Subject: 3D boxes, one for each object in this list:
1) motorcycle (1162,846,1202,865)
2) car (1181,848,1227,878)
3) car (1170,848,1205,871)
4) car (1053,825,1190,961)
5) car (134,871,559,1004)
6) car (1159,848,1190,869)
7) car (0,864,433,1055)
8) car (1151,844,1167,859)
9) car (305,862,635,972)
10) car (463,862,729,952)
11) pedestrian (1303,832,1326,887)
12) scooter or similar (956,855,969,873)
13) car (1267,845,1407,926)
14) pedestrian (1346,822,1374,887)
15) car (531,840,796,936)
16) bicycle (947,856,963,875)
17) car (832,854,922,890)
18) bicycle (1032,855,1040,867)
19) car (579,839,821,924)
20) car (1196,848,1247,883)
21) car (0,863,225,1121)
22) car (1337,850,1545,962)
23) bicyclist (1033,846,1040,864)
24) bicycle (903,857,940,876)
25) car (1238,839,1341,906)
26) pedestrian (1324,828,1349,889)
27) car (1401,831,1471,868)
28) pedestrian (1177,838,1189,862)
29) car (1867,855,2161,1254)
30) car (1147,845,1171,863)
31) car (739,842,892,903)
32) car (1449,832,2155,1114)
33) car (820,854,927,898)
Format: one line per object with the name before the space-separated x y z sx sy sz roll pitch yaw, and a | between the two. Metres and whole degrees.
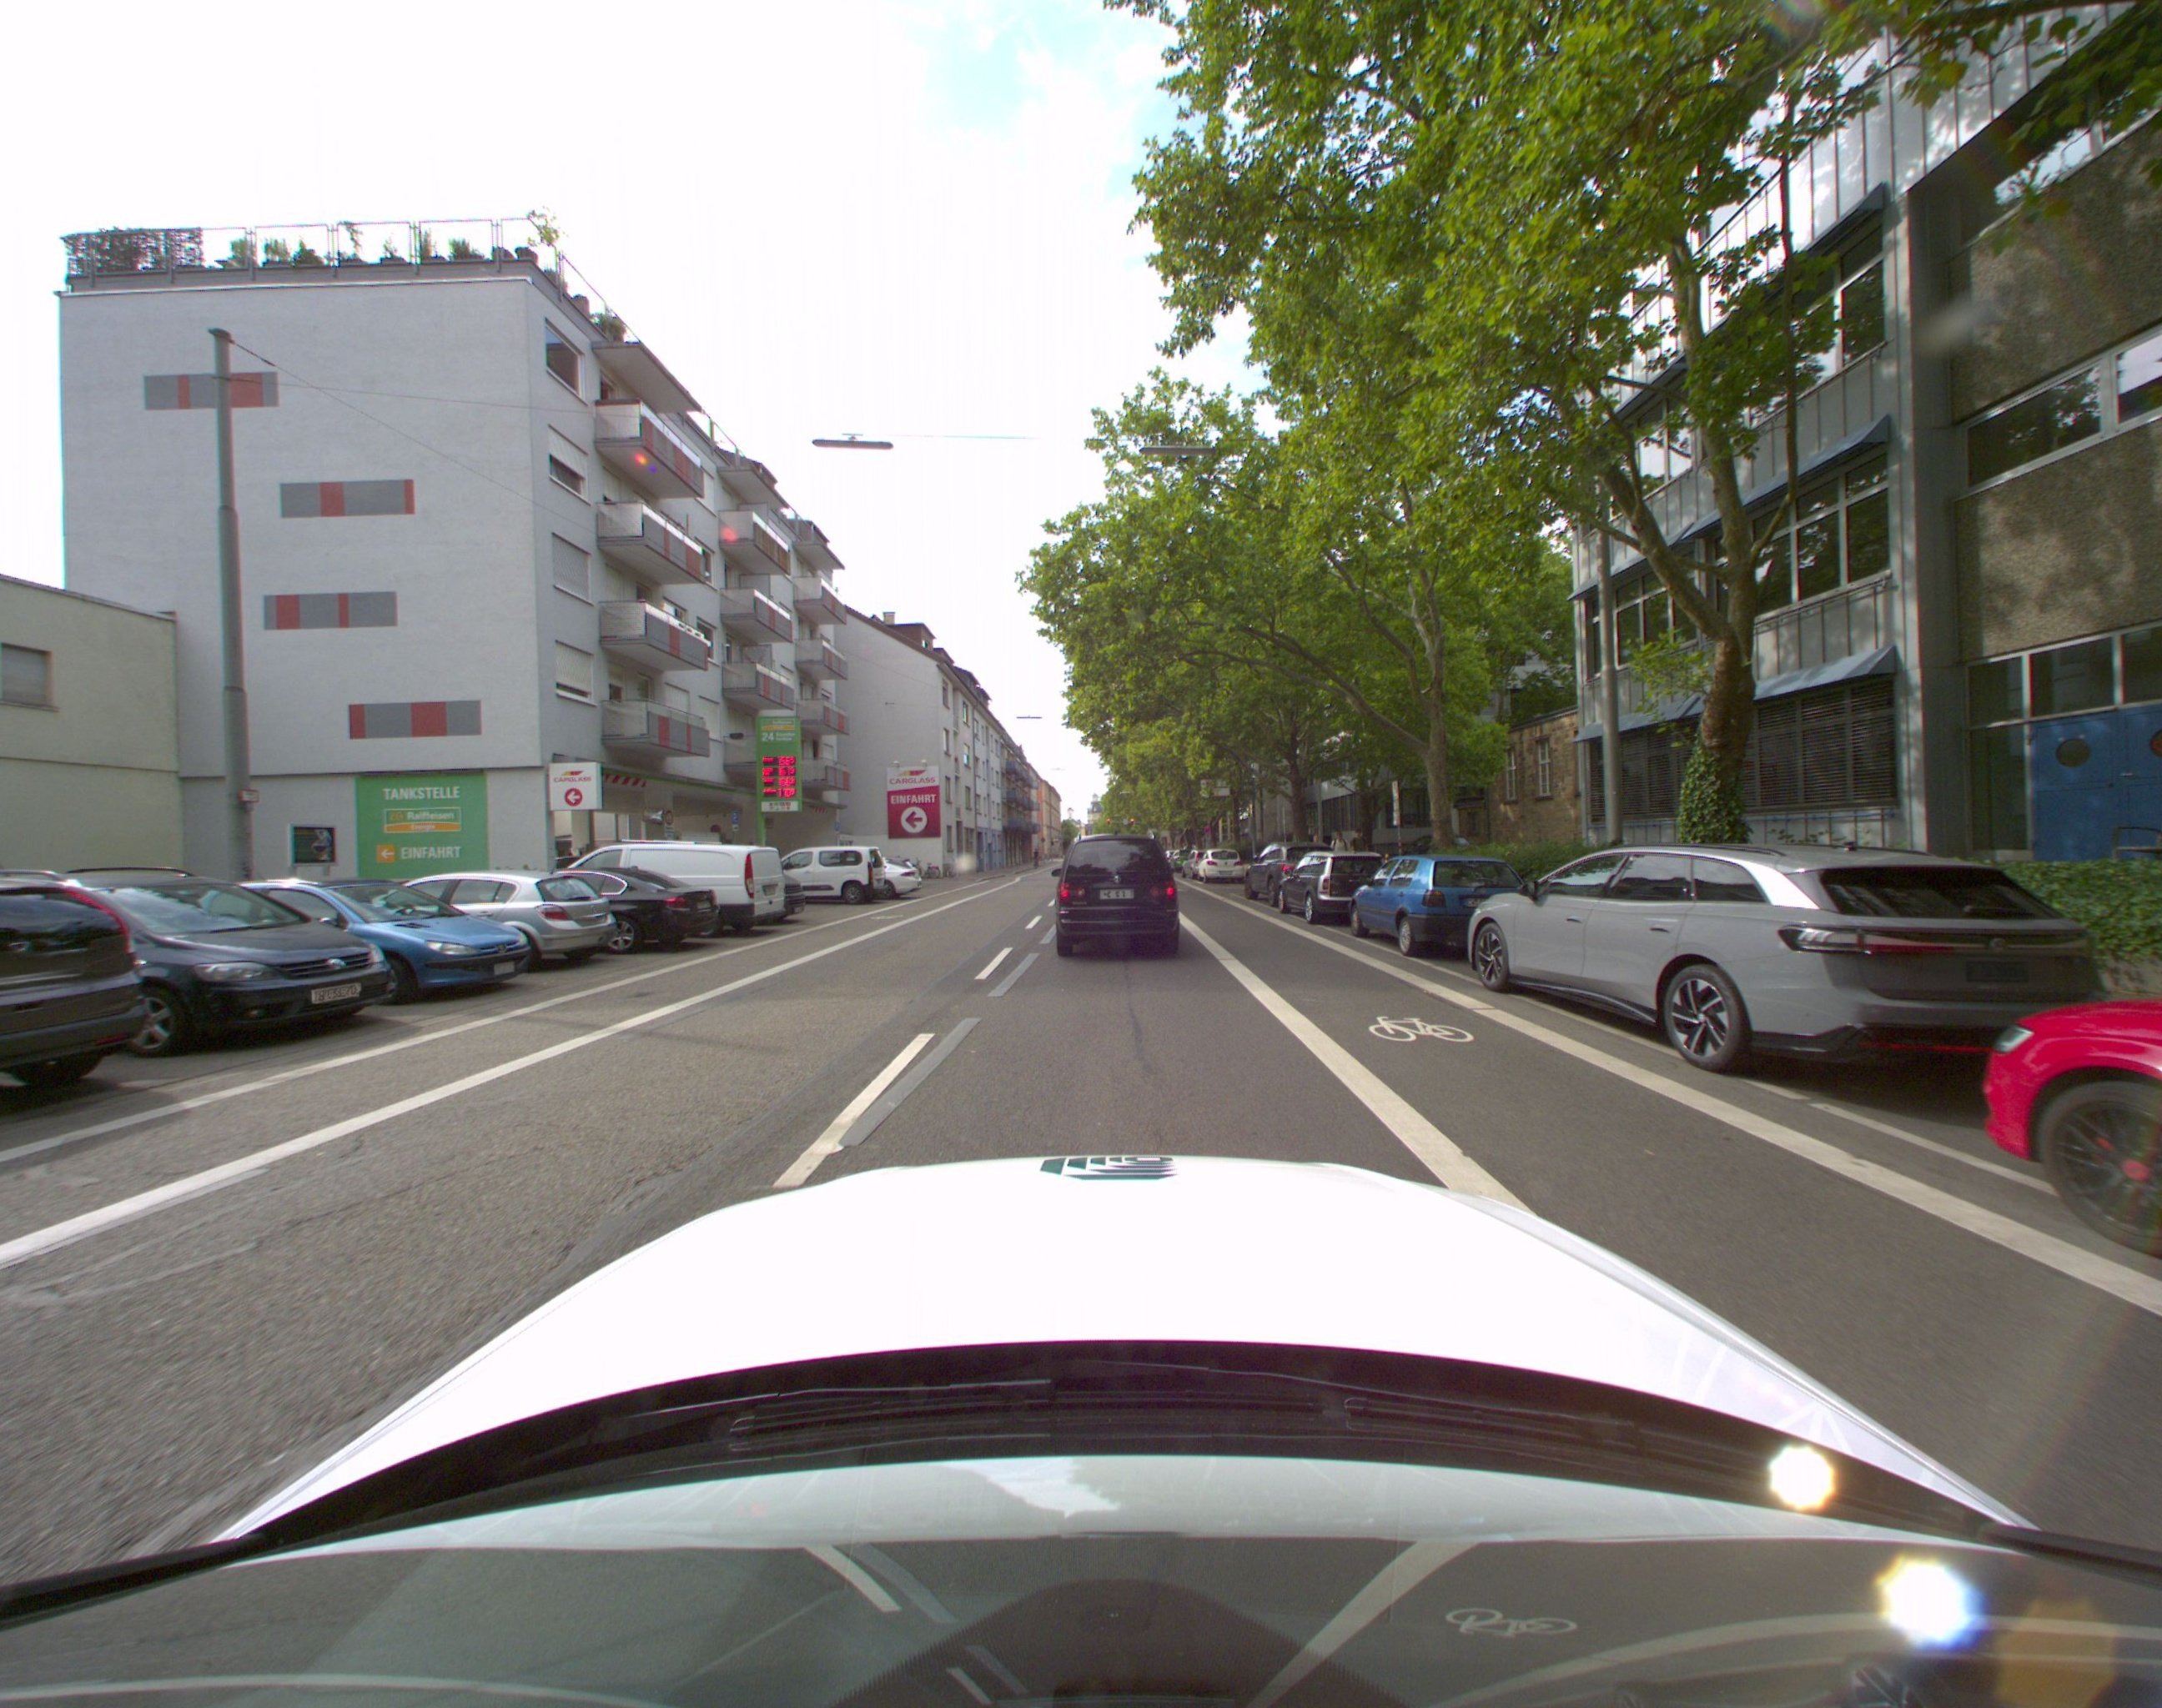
motorcycle | 7.500 0.135 60.607 2.827 1.324 0.765 -1 0 1
car | 6.024 0.400 40.201 1.637 1.413 3.414 0 1 -2
car | 6.712 0.308 51.685 1.637 1.413 3.414 0 1 -2
car | 0.508 0.500 12.687 1.807 1.766 3.736 -1 0 -1
car | -8.927 0.972 10.149 3.669 1.426 1.753 0 1 0
car | 6.488 0.272 56.992 1.637 1.394 3.510 0 1 -2
car | -9.034 0.923 8.034 3.923 1.569 1.755 0 1 3
car | 10.291 -0.346 107.348 1.781 1.771 4.002 -1 1 2
car | -9.145 0.909 12.429 3.669 1.485 1.753 0 1 0
car | -8.520 0.899 14.539 3.669 1.444 1.754 0 1 1
pedestrian | 7.228 0.160 25.193 0.585 1.701 0.508 0 2 2
scooter or similar | -7.328 0.634 50.278 0.630 1.034 2.012 0 -2 -4
car | 5.247 0.563 17.275 1.624 1.470 4.318 -1 0 1
pedestrian | 8.561 0.003 24.981 0.640 1.975 0.693 0 2 3
car | -8.640 0.656 17.154 4.508 1.878 2.048 0 1 2
bicycle | -7.338 0.667 47.416 0.629 1.034 2.014 0 0 -2
car | -8.391 0.728 33.659 3.332 1.402 1.504 0 0 -1
bicycle | -4.119 0.653 75.096 0.629 1.034 2.014 -1 -2 -1
car | -9.119 0.615 19.780 4.899 1.903 2.000 1 1 1
car | 6.109 0.446 35.828 1.669 1.394 4.463 0 1 2
car | -9.106 0.925 5.650 4.240 1.605 1.970 0 2 2
car | 5.303 0.664 12.591 1.615 1.386 4.004 1 1 3
bicyclist | -4.144 0.070 75.550 0.651 1.611 0.656 -1 -2 -1
bicycle | -8.998 0.711 45.879 2.000 1.034 0.410 0 2 3
car | 5.603 0.427 22.451 1.663 1.640 4.503 1 1 0
pedestrian | 7.880 0.128 25.161 0.585 1.838 0.693 0 2 3
car | 15.431 -0.246 35.575 1.466 1.458 3.919 0 2 2
pedestrian | 7.731 -0.287 61.714 0.764 1.831 0.516 -1 0 2
car | 4.703 0.737 1.798 1.670 1.394 4.461 -1 0 1
car | 6.848 0.015 71.767 1.637 1.487 3.510 -1 0 -2
car | -8.475 0.565 26.278 4.293 1.869 1.824 0 0 0
car | 5.045 0.628 6.887 1.722 1.516 4.872 -1 0 1
car | -7.254 0.753 28.678 3.332 1.496 1.596 0 0 -1
